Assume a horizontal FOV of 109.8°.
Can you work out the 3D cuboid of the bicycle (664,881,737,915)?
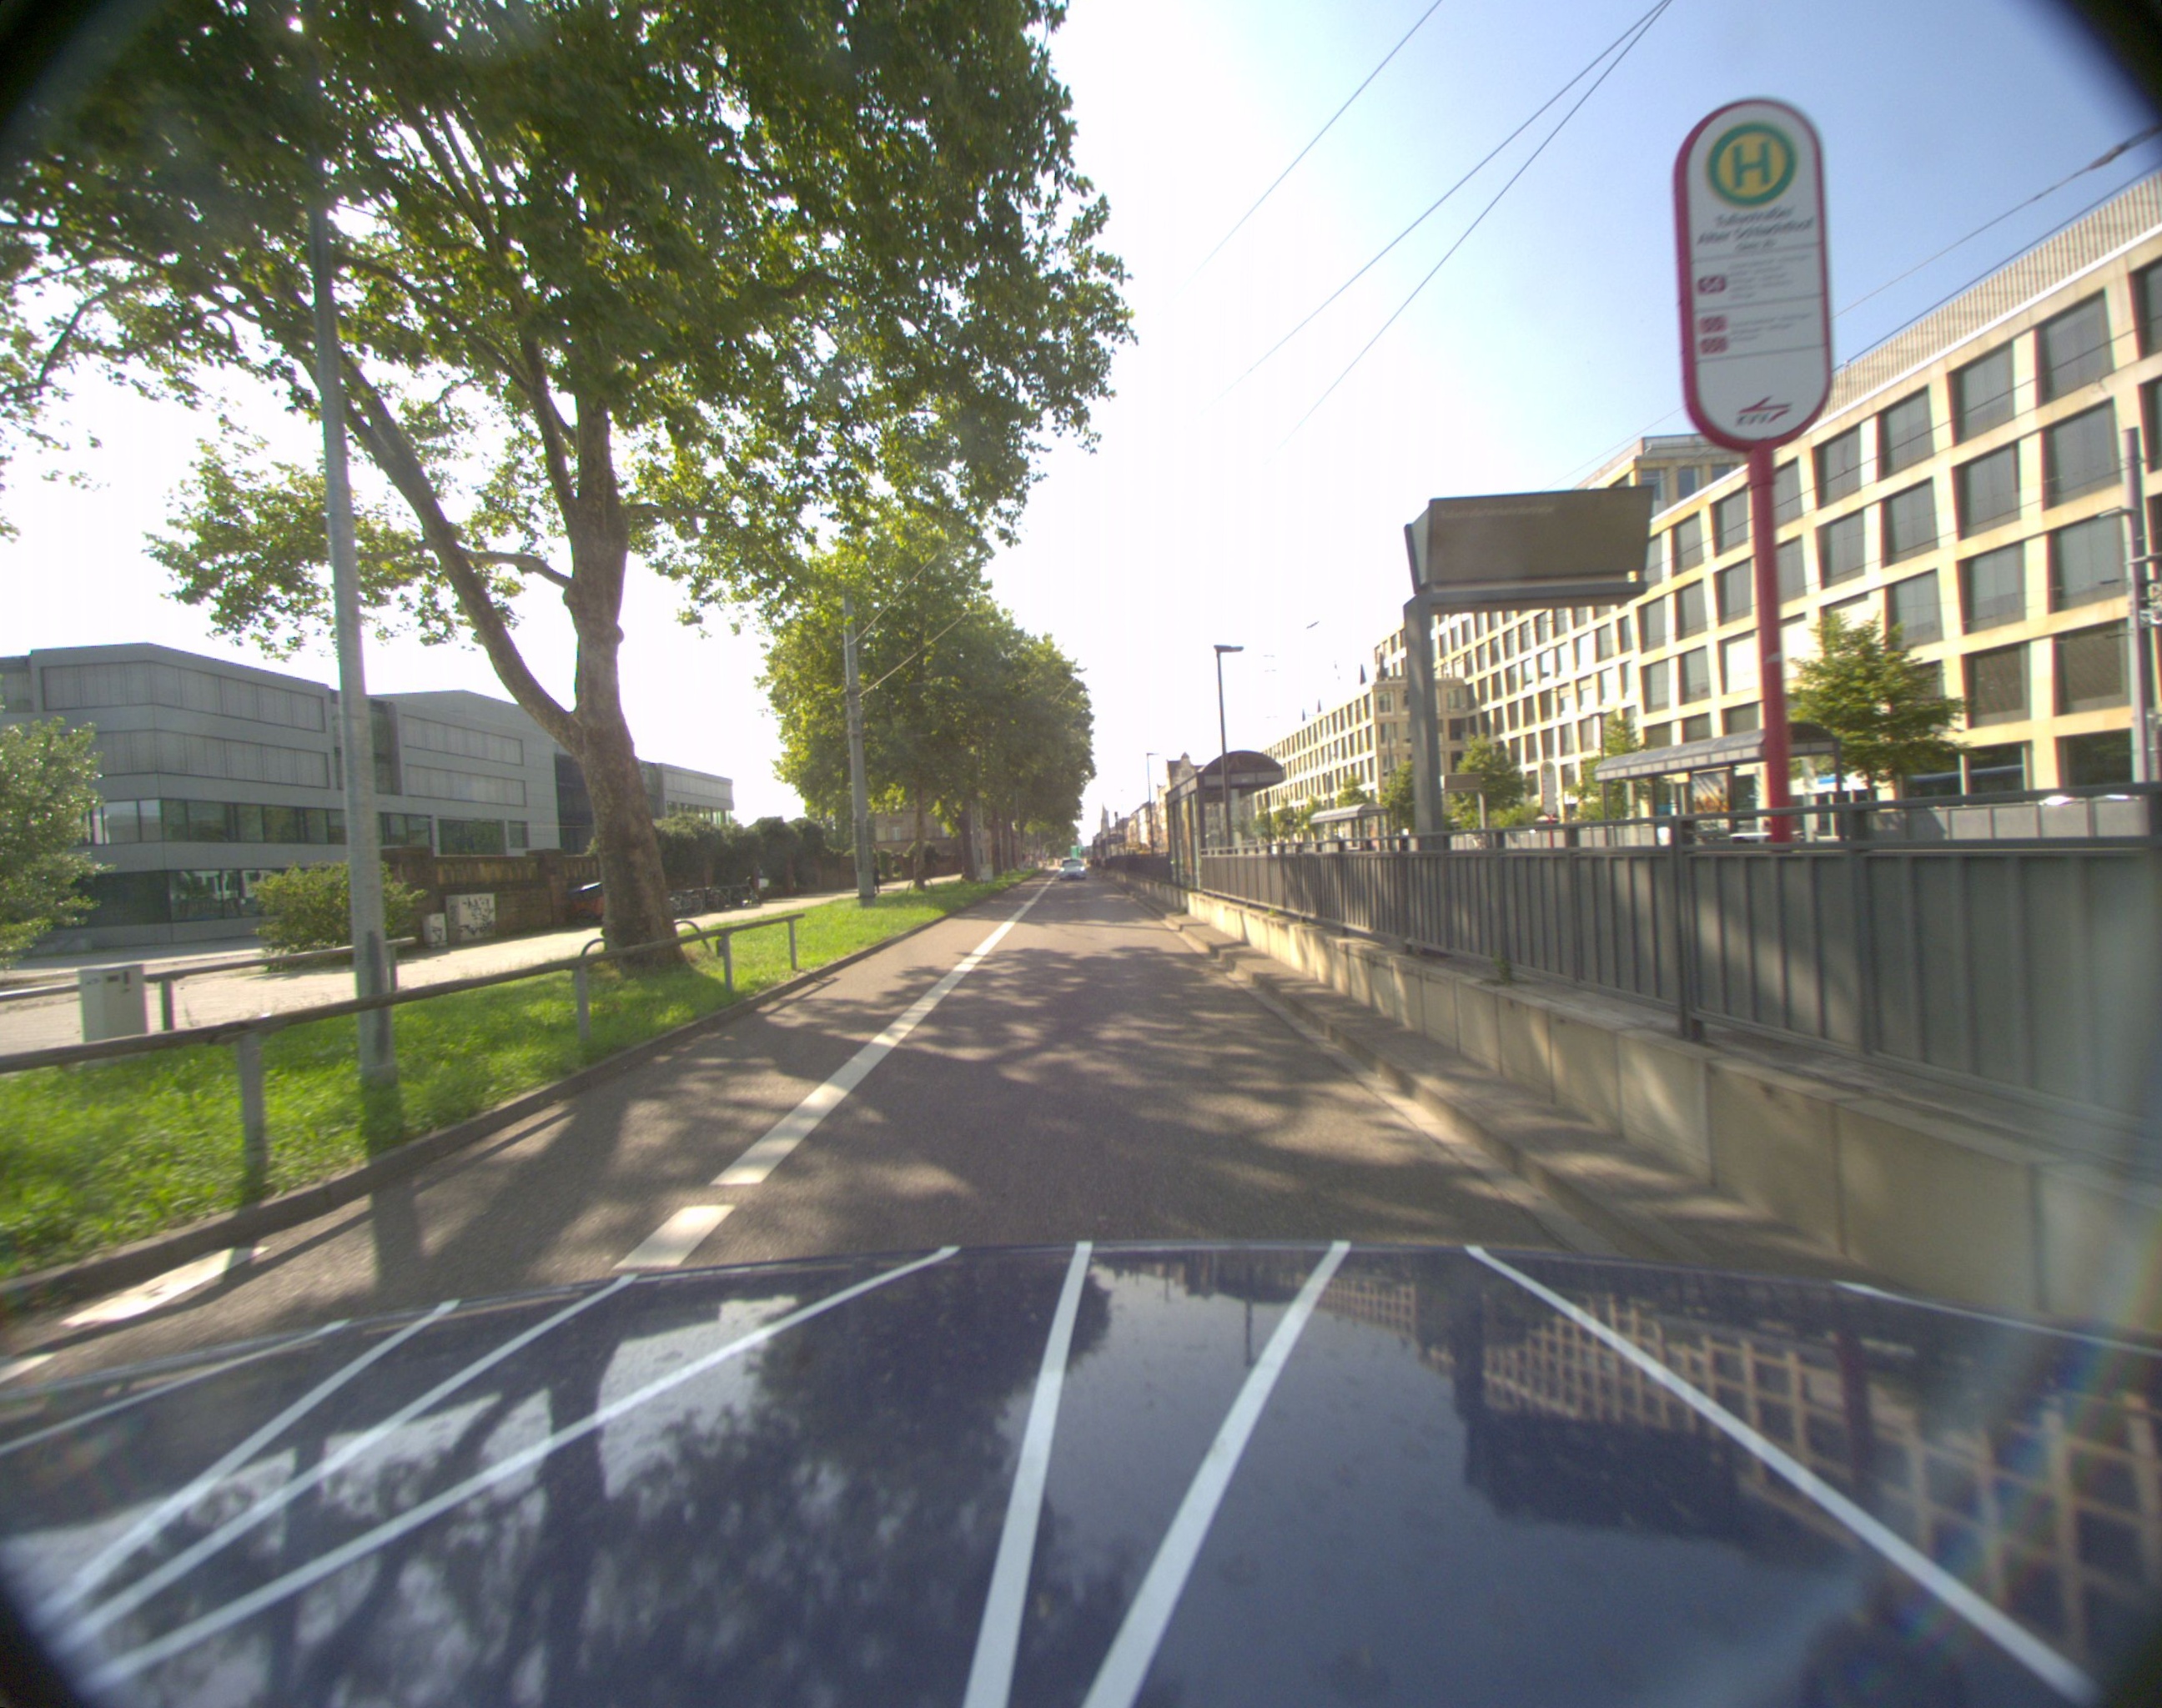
[{"bbox_3d":[-13.770,1.586,27.514,2.179,1.070,0.743,-3,1,-2],"label":"bicycle"}]

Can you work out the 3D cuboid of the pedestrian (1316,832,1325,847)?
[{"bbox_3d":[32.407,-1.944,102.772,0.769,2.002,0.822,-4,1,3],"label":"pedestrian"}]

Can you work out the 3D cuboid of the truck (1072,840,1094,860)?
[{"bbox_3d":[0.317,-0.787,153.269,2.817,3.766,9.008,-3,0,-10],"label":"truck"}]

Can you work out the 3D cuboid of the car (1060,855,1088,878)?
[{"bbox_3d":[-0.470,0.855,53.903,1.844,1.451,3.999,-2,0,0],"label":"car"}]

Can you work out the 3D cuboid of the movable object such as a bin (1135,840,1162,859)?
[{"bbox_3d":[12.998,-0.872,146.539,4.127,3.204,3.564,-3,0,-16],"label":"movable object such as a bin"}]

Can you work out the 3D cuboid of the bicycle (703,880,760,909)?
[{"bbox_3d":[-14.078,1.630,30.628,1.872,1.000,0.735,-3,1,-2],"label":"bicycle"}]

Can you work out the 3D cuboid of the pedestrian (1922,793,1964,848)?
[{"bbox_3d":[32.024,-1.248,28.238,0.564,2.002,0.822,-1,2,-1],"label":"pedestrian"}]

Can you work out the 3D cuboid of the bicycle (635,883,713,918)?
[{"bbox_3d":[-13.545,1.550,25.304,2.178,1.070,0.743,-1,1,3],"label":"bicycle"}]

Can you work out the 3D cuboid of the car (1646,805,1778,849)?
[{"bbox_3d":[25.386,-1.021,30.782,1.768,1.594,4.131,-2,0,-2],"label":"car"}]

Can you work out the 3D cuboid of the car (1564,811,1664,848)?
[{"bbox_3d":[25.637,-1.136,36.731,1.768,1.565,4.131,-2,0,-2],"label":"car"}]

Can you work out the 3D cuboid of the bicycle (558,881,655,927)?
[{"bbox_3d":[-14.329,1.494,22.985,2.250,1.270,0.998,-1,2,-1],"label":"bicycle"}]

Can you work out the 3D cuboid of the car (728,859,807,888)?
[{"bbox_3d":[-21.234,1.318,51.618,4.534,1.724,1.909,-3,0,-3],"label":"car"}]

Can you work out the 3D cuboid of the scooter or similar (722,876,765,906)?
[{"bbox_3d":[-14.131,1.548,31.817,1.509,1.184,0.539,-2,1,3],"label":"scooter or similar"}]

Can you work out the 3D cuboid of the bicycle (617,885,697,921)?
[{"bbox_3d":[-13.646,1.564,24.488,2.178,1.070,0.743,-1,1,3],"label":"bicycle"}]

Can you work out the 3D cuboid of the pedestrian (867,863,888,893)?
[{"bbox_3d":[-10.449,1.219,39.038,0.786,1.506,0.787,-3,1,-1],"label":"pedestrian"}]

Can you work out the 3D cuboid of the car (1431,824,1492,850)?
[{"bbox_3d":[25.013,-1.077,50.128,1.768,1.565,4.131,-2,0,-2],"label":"car"}]

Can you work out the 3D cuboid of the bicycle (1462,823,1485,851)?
[{"bbox_3d":[16.923,-0.745,32.779,0.472,1.141,1.485,-4,1,14],"label":"bicycle"}]

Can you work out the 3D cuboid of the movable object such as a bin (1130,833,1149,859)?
[{"bbox_3d":[10.656,-1.487,138.132,2.994,4.527,4.212,-3,0,1],"label":"movable object such as a bin"}]
